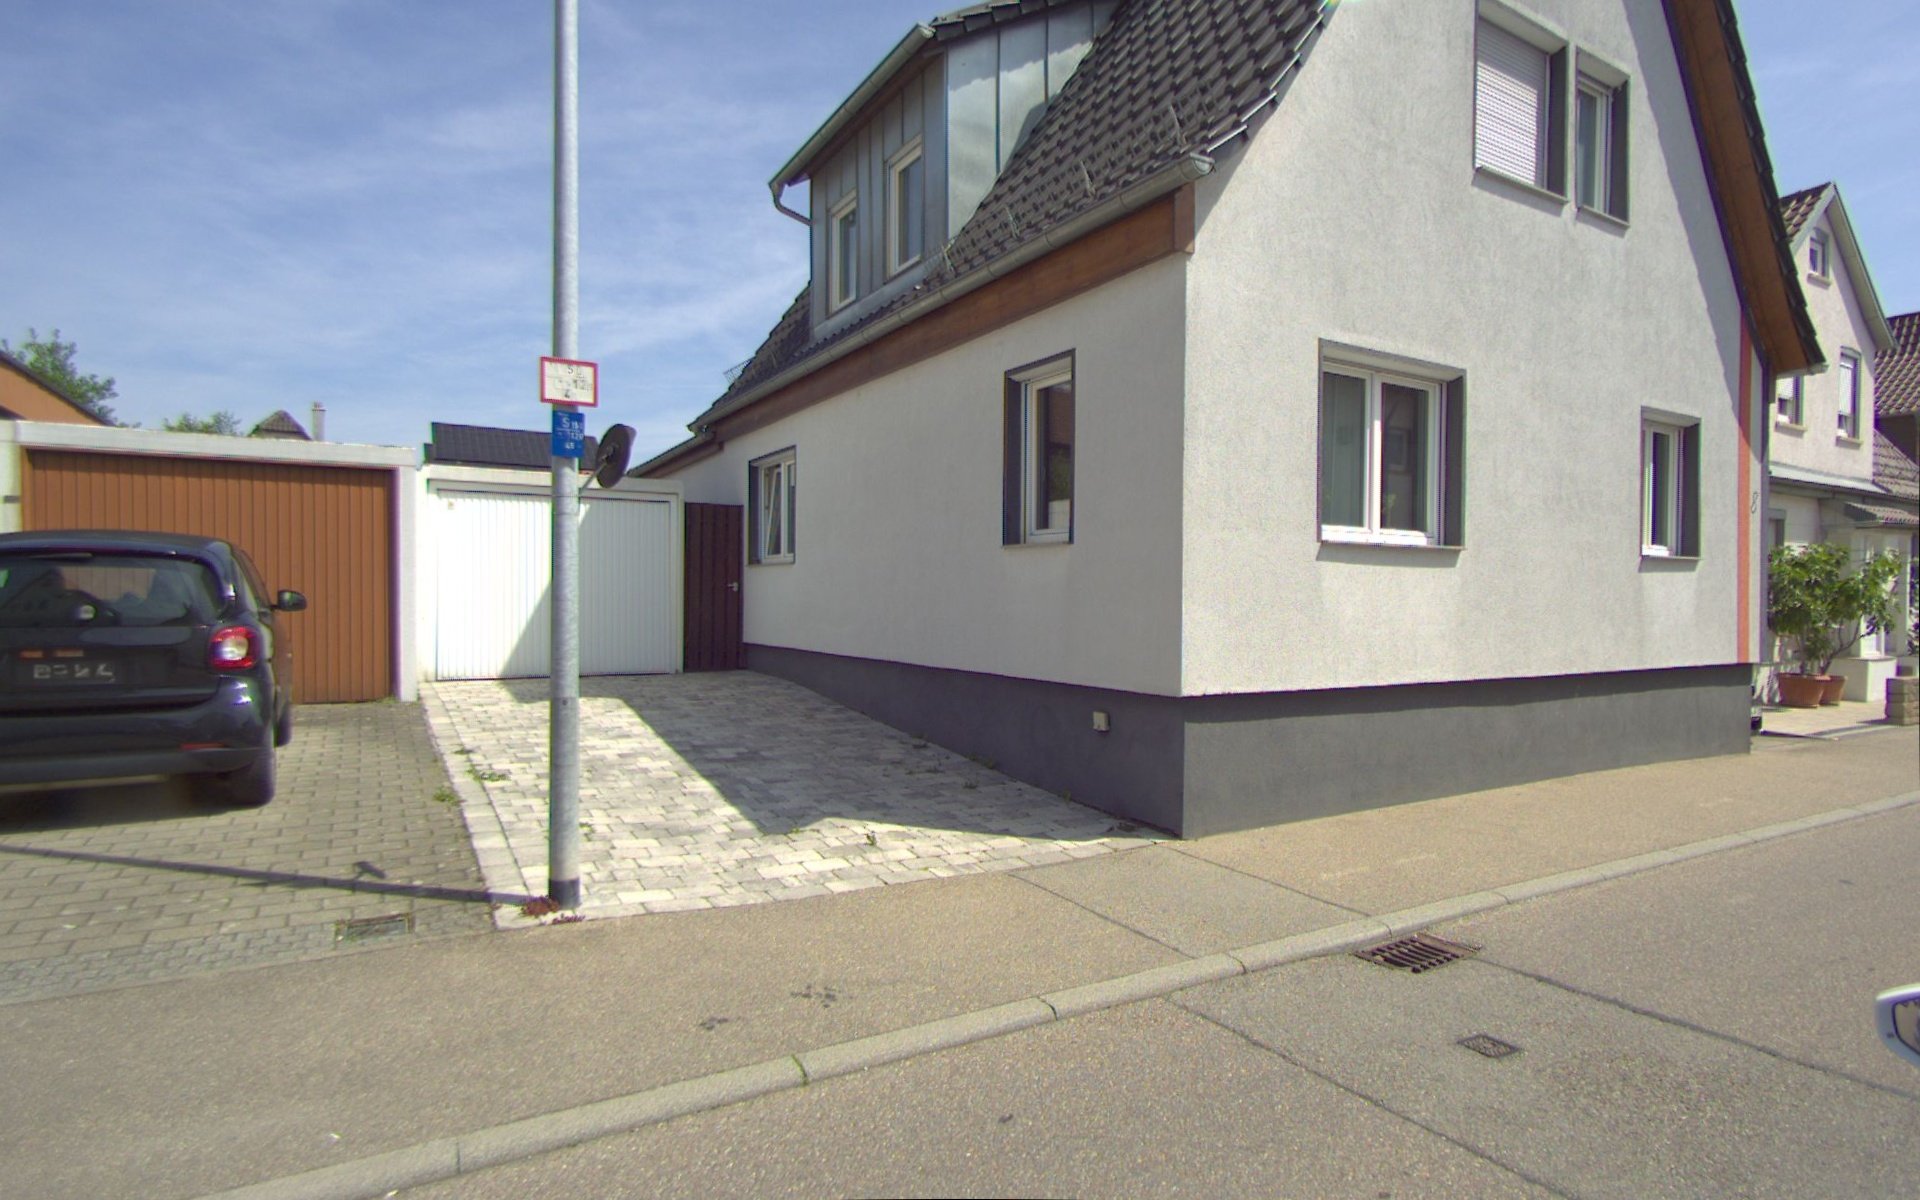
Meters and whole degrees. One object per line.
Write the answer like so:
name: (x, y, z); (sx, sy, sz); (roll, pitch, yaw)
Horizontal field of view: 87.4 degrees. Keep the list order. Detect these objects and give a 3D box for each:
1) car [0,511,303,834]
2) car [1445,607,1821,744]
car: (-5.349, 0.278, 6.545); (1.695, 1.598, 3.092); (1, 4, -32)
car: (8.680, 0.874, 13.323); (1.680, 1.501, 3.822); (1, 0, -28)
